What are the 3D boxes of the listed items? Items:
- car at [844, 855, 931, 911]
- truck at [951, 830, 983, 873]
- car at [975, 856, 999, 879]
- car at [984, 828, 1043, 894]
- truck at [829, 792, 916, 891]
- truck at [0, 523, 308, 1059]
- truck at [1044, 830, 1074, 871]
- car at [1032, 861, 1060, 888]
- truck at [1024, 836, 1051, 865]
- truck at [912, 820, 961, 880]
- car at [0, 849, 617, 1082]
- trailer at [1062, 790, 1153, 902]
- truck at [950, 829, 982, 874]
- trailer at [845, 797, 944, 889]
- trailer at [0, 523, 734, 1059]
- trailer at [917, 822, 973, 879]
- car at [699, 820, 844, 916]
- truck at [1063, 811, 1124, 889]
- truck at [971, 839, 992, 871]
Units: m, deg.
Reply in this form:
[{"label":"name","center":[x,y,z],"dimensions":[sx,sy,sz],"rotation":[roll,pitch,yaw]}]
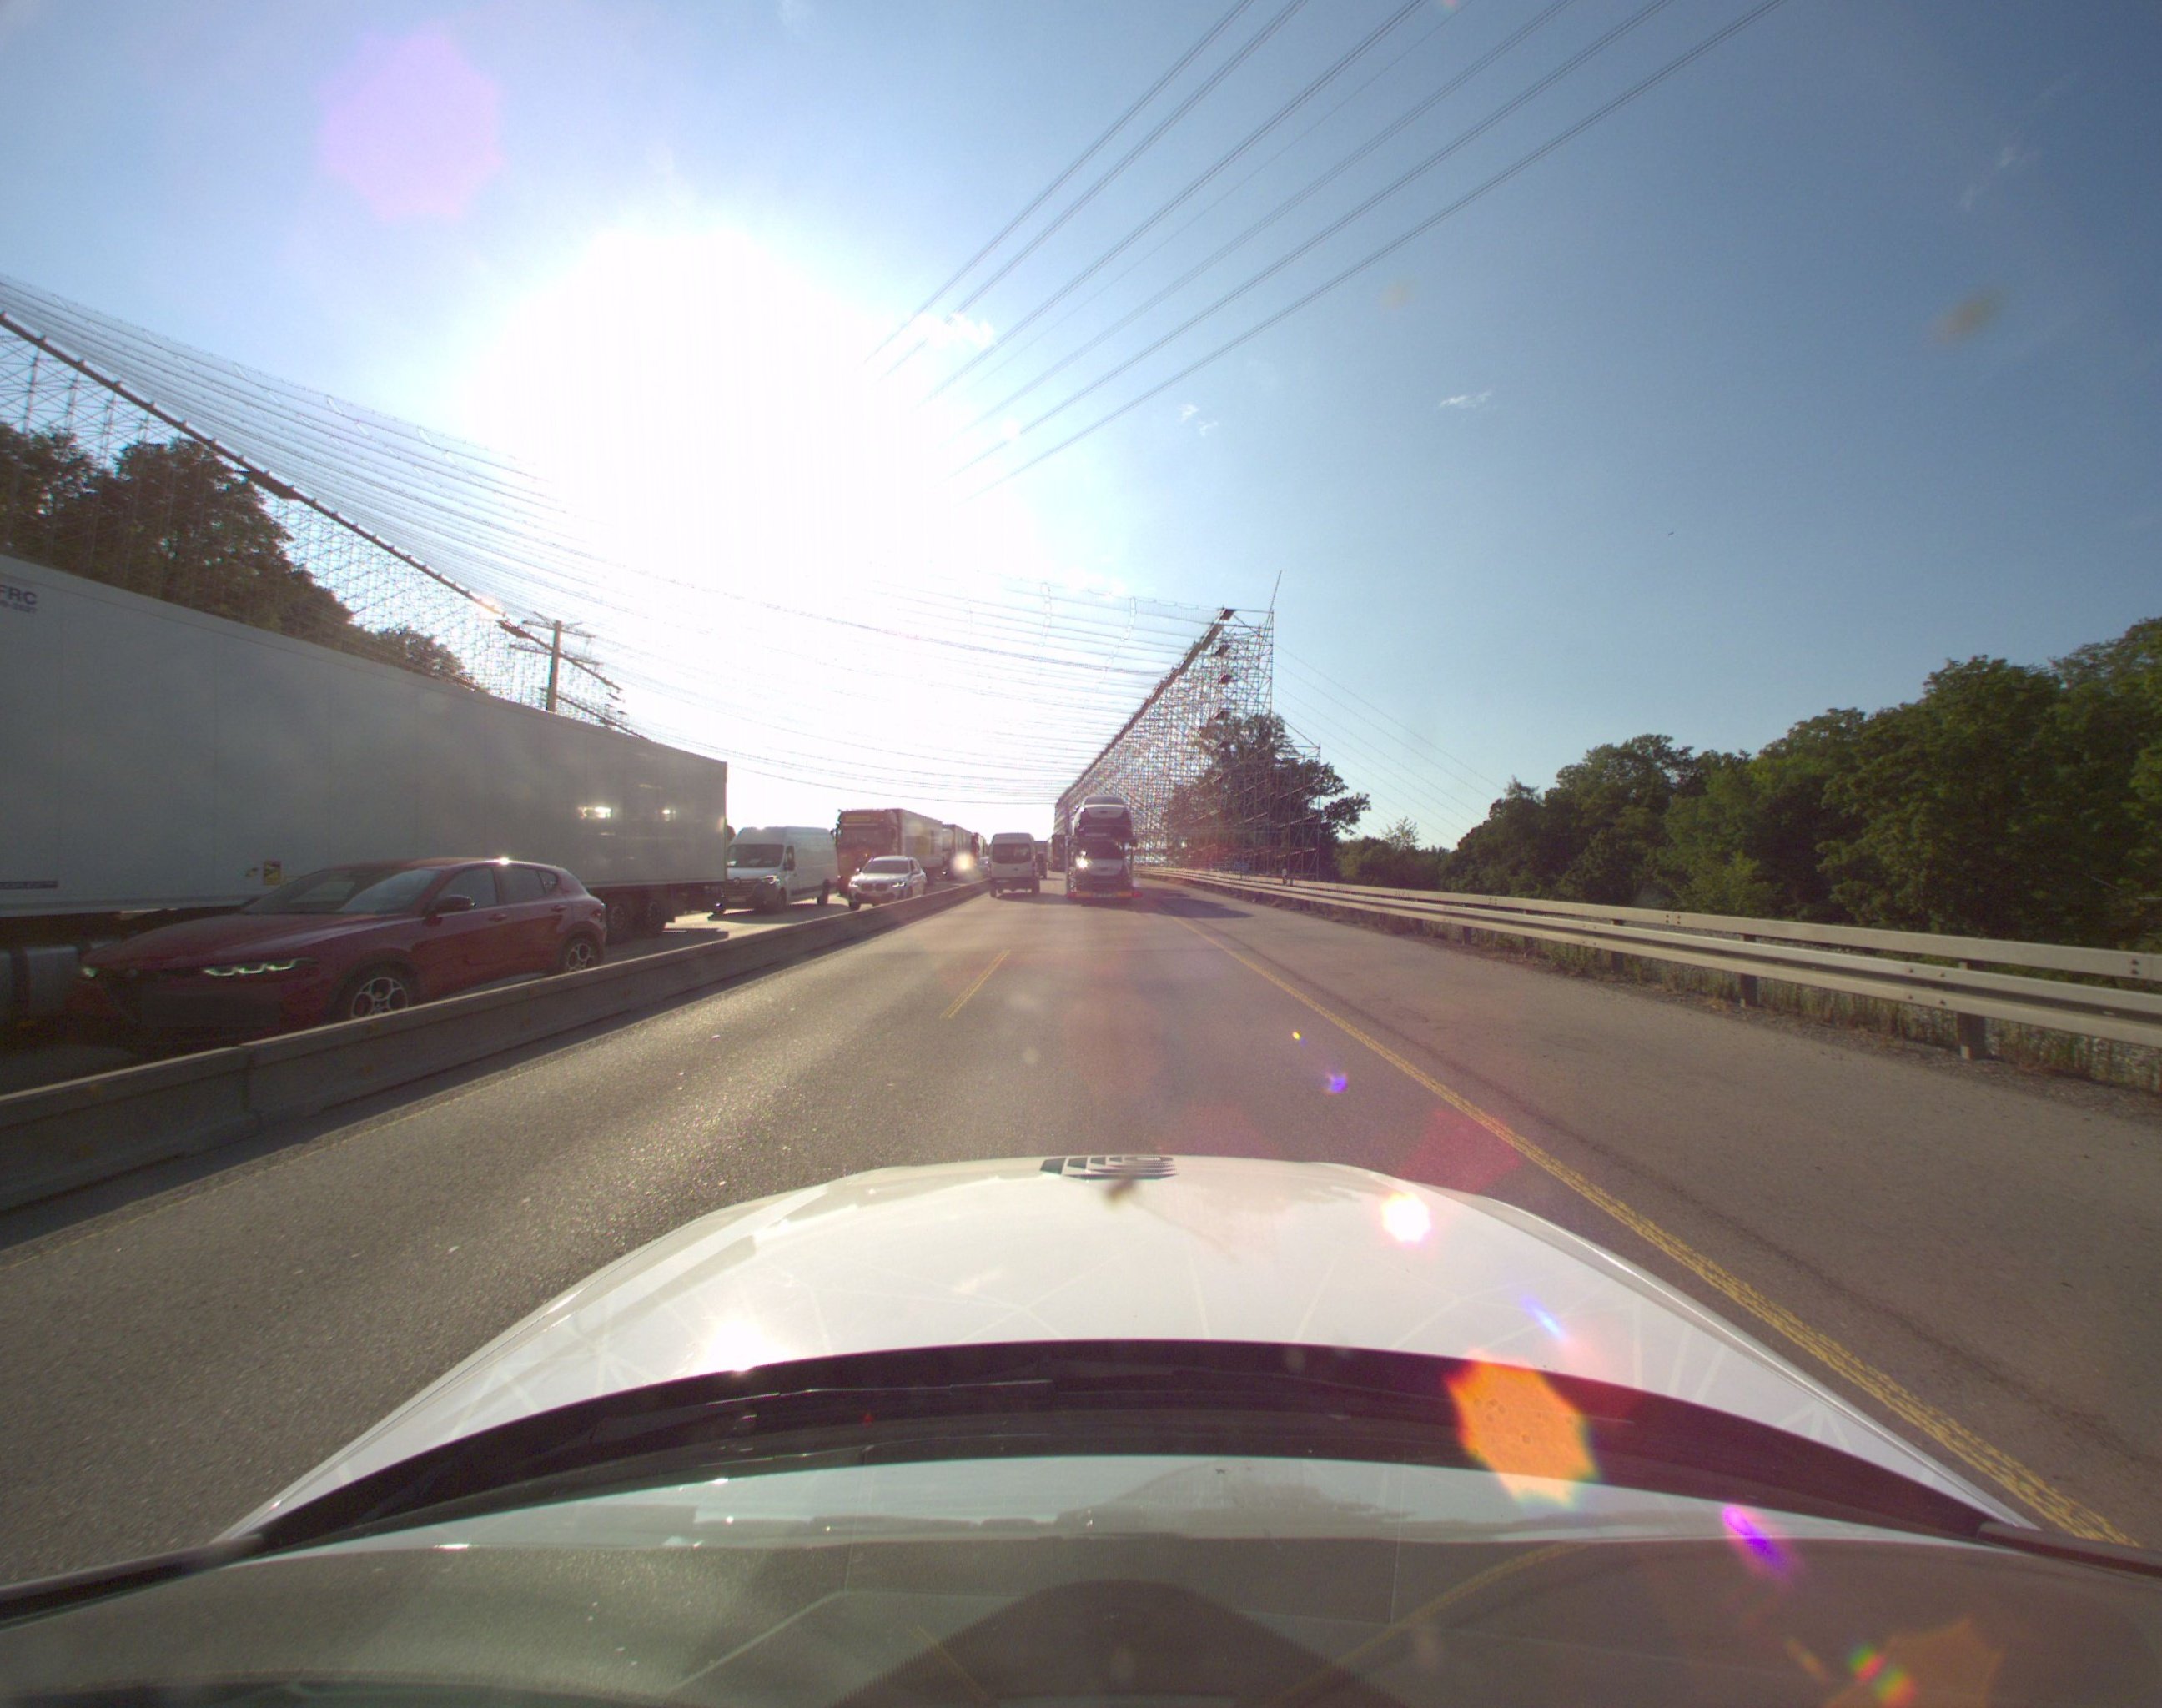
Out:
[{"label":"car","center":[-6.283,0.887,26.979],"dimensions":[1.864,1.588,4.800],"rotation":[1,1,-2]},{"label":"truck","center":[-11.803,-0.139,85.497],"dimensions":[2.784,4.141,13.778],"rotation":[-1,-1,-6]},{"label":"car","center":[-7.136,0.996,62.201],"dimensions":[1.750,1.657,4.852],"rotation":[-1,0,-6]},{"label":"car","center":[-2.794,0.306,34.556],"dimensions":[1.949,2.621,4.001],"rotation":[-1,-1,2]},{"label":"truck","center":[-9.760,-0.529,38.689],"dimensions":[2.738,4.300,5.929],"rotation":[-1,-1,-2]},{"label":"truck","center":[-9.841,-0.488,6.073],"dimensions":[2.704,4.218,5.681],"rotation":[-1,-1,0]},{"label":"truck","center":[-2.598,-0.393,92.397],"dimensions":[2.727,4.385,11.501],"rotation":[0,0,-5]},{"label":"car","center":[-2.737,1.529,63.115],"dimensions":[1.990,2.014,3.992],"rotation":[0,-1,-5]},{"label":"truck","center":[-6.953,-0.548,132.805],"dimensions":[3.676,4.220,13.662],"rotation":[-3,0,-1]},{"label":"truck","center":[-10.521,-0.231,59.736],"dimensions":[2.781,4.141,5.927],"rotation":[-1,-1,-3]},{"label":"car","center":[-6.650,0.742,7.753],"dimensions":[1.882,1.568,4.455],"rotation":[0,0,0]},{"label":"trailer","center":[0.713,-0.196,34.711],"dimensions":[2.861,3.725,14.934],"rotation":[-1,-1,-2]},{"label":"truck","center":[-11.132,-0.194,78.975],"dimensions":[2.784,4.141,6.665],"rotation":[-1,-1,-6]},{"label":"trailer","center":[-9.976,-0.469,45.399],"dimensions":[2.759,4.334,13.869],"rotation":[-1,-1,-2]},{"label":"trailer","center":[-9.860,-0.427,13.062],"dimensions":[2.712,4.218,13.745],"rotation":[-1,-1,0]},{"label":"trailer","center":[-10.852,-0.173,66.416],"dimensions":[2.792,4.141,13.950],"rotation":[-1,-1,-3]},{"label":"car","center":[-9.735,0.362,26.433],"dimensions":[2.015,2.690,6.949],"rotation":[0,1,0]},{"label":"truck","center":[0.538,-0.154,42.260],"dimensions":[2.873,3.702,7.321],"rotation":[-1,-1,-1]},{"label":"truck","center":[-13.730,0.189,112.160],"dimensions":[2.661,4.230,6.086],"rotation":[0,0,-8]}]
